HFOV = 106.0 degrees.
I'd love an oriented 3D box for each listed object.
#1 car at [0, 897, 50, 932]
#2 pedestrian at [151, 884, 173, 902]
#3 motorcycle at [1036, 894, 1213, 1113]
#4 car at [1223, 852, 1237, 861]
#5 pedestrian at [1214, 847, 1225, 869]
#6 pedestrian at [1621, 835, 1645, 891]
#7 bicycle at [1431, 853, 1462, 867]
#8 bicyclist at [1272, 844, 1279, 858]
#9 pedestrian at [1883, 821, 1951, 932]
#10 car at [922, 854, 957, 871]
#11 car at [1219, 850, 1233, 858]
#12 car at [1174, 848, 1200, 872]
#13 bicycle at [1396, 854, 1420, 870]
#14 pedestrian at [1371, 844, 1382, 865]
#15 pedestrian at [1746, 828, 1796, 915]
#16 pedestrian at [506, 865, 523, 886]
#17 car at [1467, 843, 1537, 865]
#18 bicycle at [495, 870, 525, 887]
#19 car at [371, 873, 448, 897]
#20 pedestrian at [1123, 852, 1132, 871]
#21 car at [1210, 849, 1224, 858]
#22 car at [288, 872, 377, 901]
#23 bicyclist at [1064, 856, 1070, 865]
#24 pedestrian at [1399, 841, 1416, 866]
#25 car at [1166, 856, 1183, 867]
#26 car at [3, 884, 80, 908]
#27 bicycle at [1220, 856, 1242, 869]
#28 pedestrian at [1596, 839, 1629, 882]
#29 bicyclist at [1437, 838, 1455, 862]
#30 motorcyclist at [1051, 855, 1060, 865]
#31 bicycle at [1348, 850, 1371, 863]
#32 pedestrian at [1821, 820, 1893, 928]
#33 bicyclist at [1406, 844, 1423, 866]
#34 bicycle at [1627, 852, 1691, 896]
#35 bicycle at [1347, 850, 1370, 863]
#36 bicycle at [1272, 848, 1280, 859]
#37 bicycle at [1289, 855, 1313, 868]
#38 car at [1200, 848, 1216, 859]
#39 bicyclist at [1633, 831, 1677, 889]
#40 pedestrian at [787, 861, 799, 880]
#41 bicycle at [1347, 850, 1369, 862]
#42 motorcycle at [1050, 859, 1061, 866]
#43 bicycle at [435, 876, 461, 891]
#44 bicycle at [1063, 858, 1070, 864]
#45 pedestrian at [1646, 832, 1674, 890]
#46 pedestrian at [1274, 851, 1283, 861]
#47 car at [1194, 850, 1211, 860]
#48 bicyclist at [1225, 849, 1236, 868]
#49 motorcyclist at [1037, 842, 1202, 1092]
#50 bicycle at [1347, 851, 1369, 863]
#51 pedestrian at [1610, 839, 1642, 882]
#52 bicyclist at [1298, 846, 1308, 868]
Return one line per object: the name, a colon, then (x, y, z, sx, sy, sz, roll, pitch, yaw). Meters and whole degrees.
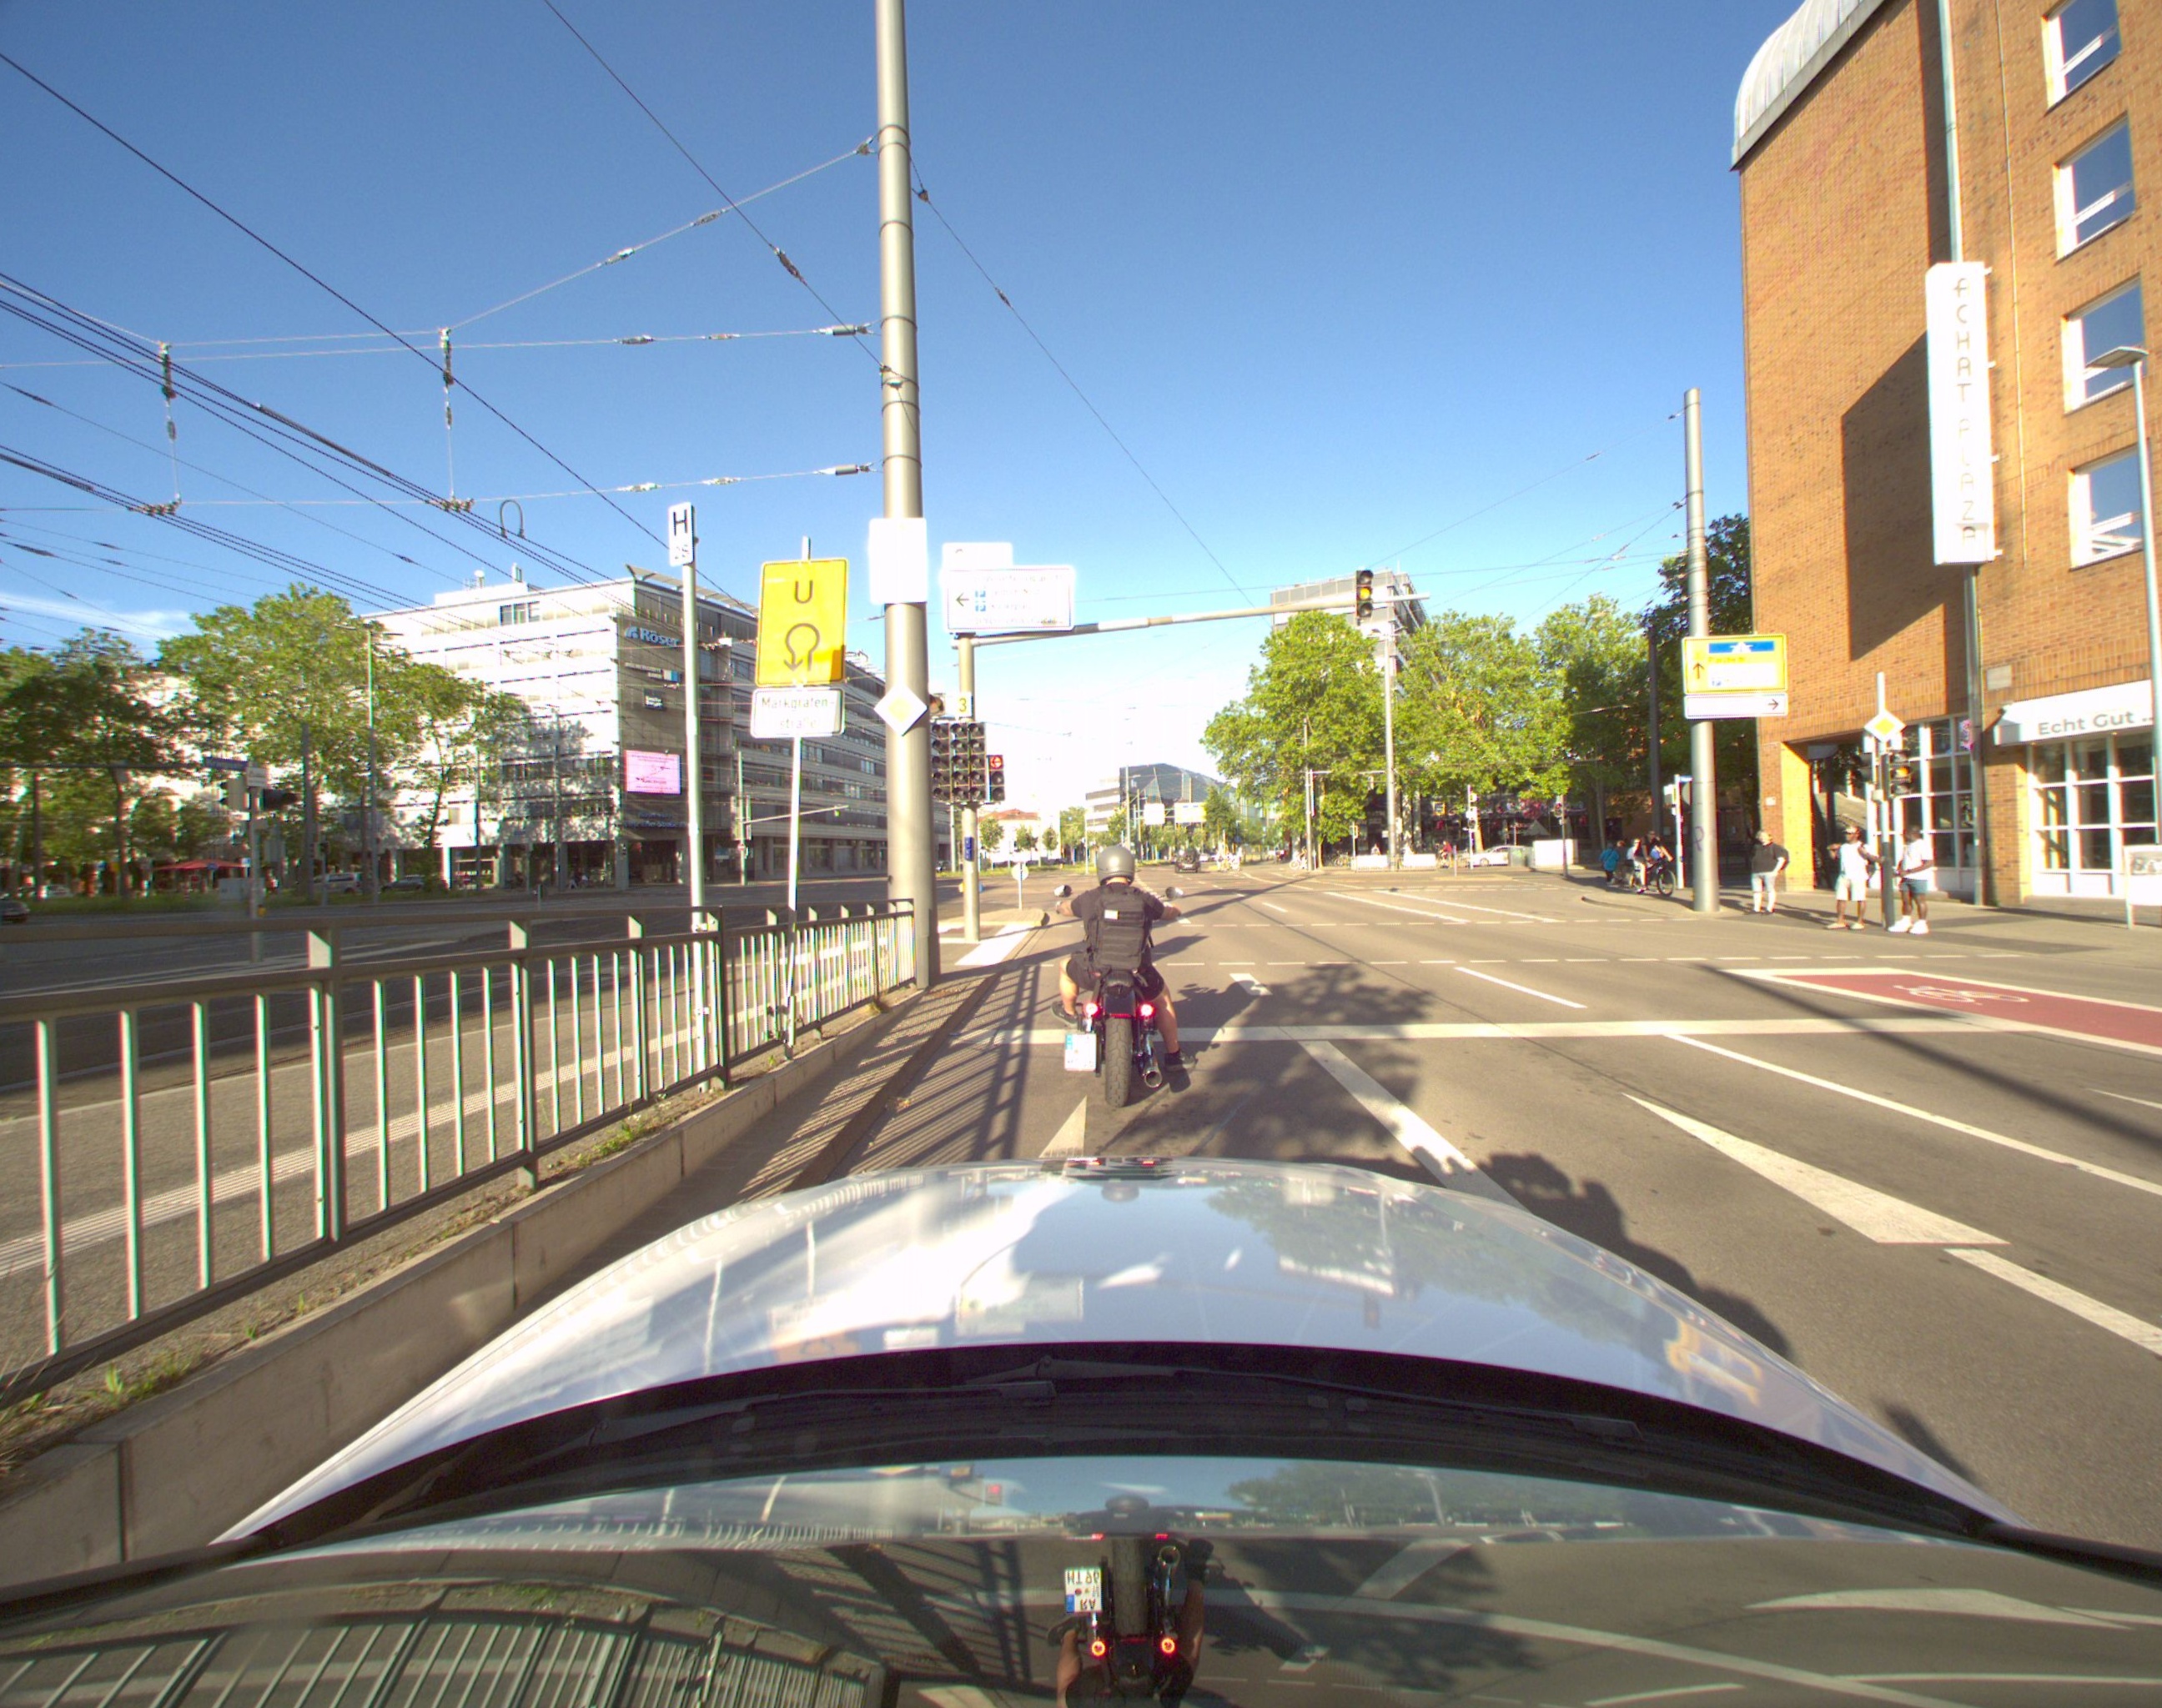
car: (-45.421, 2.505, 33.602, 3.599, 1.328, 1.655, 0, -1, -1)
pedestrian: (-81.918, 3.430, 72.610, 0.985, 1.546, 0.875, -2, -1, 9)
motorcycle: (0.286, 0.913, 5.820, 1.002, 1.125, 2.324, 0, 0, 2)
car: (26.050, 0.415, 142.167, 1.826, 1.464, 4.020, -1, -1, 20)
pedestrian: (11.770, 0.333, 69.154, 0.693, 1.837, 0.518, -1, -1, 37)
pedestrian: (16.867, 0.271, 24.892, 0.556, 1.704, 0.663, -1, -1, 30)
bicycle: (25.183, 0.381, 56.171, 1.844, 0.910, 0.653, -2, 0, 6)
bicyclist: (27.020, -0.420, 113.073, 0.853, 1.841, 1.263, -2, 0, 17)
pedestrian: (13.786, 0.366, 13.437, 0.402, 1.774, 0.579, -3, -1, 1)
car: (-13.768, 0.813, 79.252, 1.779, 1.465, 4.326, -2, 0, 13)
car: (27.658, 0.022, 155.595, 1.705, 1.484, 3.775, -2, 0, 23)
car: (8.594, 0.494, 66.013, 2.041, 1.874, 4.236, 0, -1, 8)
bicycle: (20.835, 0.512, 51.939, 0.786, 1.052, 1.924, 0, -1, 2)
pedestrian: (25.876, 0.035, 71.341, 0.840, 1.852, 0.813, 1, 0, 16)
pedestrian: (14.321, 0.348, 16.901, 0.577, 1.767, 0.687, -1, 1, -39)
pedestrian: (-43.410, 1.644, 62.387, 0.831, 1.610, 0.607, 0, 3, 5)
car: (29.820, -0.011, 57.787, 3.967, 1.486, 2.003, 0, -1, 6)
bicycle: (-43.428, 1.866, 61.964, 1.834, 1.163, 0.613, -1, 3, 3)
car: (-50.563, 2.340, 61.358, 4.378, 1.572, 1.869, -2, 2, 6)
pedestrian: (3.942, 0.665, 68.964, 0.654, 1.582, 0.490, -1, 0, 5)
car: (24.686, -0.098, 147.888, 1.705, 1.657, 3.774, -2, 0, 22)
car: (-56.285, 2.427, 61.291, 4.888, 1.843, 1.930, -2, 2, 3)
bicyclist: (-2.746, 1.241, 155.785, 0.757, 1.667, 0.998, -1, 0, 19)
pedestrian: (20.807, -0.028, 51.943, 0.767, 1.594, 0.838, 0, -1, 1)
car: (13.642, 1.091, 118.604, 1.887, 1.508, 4.017, -1, -1, 17)
car: (-79.775, 3.208, 62.531, 3.835, 1.638, 1.869, -2, 0, 6)
bicycle: (12.347, 0.671, 67.033, 1.612, 1.021, 0.519, -2, -1, 25)
pedestrian: (19.337, 0.242, 29.618, 0.674, 1.540, 0.741, 0, -1, -6)
bicyclist: (25.191, -0.252, 56.181, 0.921, 1.615, 0.638, -2, 0, 5)
motorcyclist: (-4.607, 1.094, 147.279, 1.010, 1.731, 1.468, -2, 0, 20)
bicycle: (22.309, 0.183, 65.179, 1.692, 0.986, 0.392, -2, 0, 15)
pedestrian: (13.600, 0.351, 14.277, 0.500, 1.833, 0.725, -3, -1, -33)
bicyclist: (29.418, 0.086, 71.902, 1.219, 1.931, 0.837, -1, 0, 10)
bicycle: (15.690, 0.521, 22.161, 0.597, 1.050, 1.887, -6, 0, 11)
bicycle: (22.504, 0.219, 66.020, 1.692, 0.986, 0.392, -2, 0, 15)
bicycle: (27.037, -0.063, 113.015, 0.853, 1.481, 2.588, -2, 0, 17)
bicycle: (17.559, 0.595, 65.051, 1.840, 1.021, 0.518, -2, -1, 13)
car: (21.959, -0.083, 140.893, 1.803, 1.818, 3.966, -2, 0, 23)
bicyclist: (15.677, 0.146, 22.263, 0.575, 1.515, 0.853, -6, 1, 12)
pedestrian: (-27.694, 1.582, 78.397, 0.670, 1.823, 0.888, -3, -1, 12)
bicycle: (22.900, 0.175, 67.384, 1.692, 0.986, 0.392, -2, 0, 15)
motorcycle: (-4.629, 1.519, 147.144, 0.975, 1.232, 2.957, -2, 0, 19)
bicycle: (-51.183, 2.382, 65.858, 0.466, 1.151, 1.844, -1, 1, 9)
bicycle: (-2.732, 1.337, 155.759, 0.637, 1.107, 1.693, -1, 0, 20)
pedestrian: (17.561, 0.209, 24.716, 0.596, 1.727, 0.606, -1, -1, 29)
pedestrian: (21.941, 0.219, 90.333, 0.777, 1.057, 0.819, -2, 0, 24)
car: (20.107, 0.095, 134.578, 1.757, 1.514, 3.754, -2, 0, 24)
bicyclist: (12.322, 0.363, 67.065, 0.736, 1.503, 0.573, -2, -1, 25)
motorcyclist: (0.260, 0.701, 5.714, 1.018, 1.552, 1.287, 0, 0, 1)
bicycle: (22.759, 0.245, 66.925, 1.692, 0.986, 0.392, -2, 0, 15)
pedestrian: (20.036, 0.240, 29.960, 0.649, 1.540, 0.741, 0, -1, -6)
bicyclist: (17.718, 0.256, 65.026, 0.737, 1.694, 0.572, -2, -1, 13)
